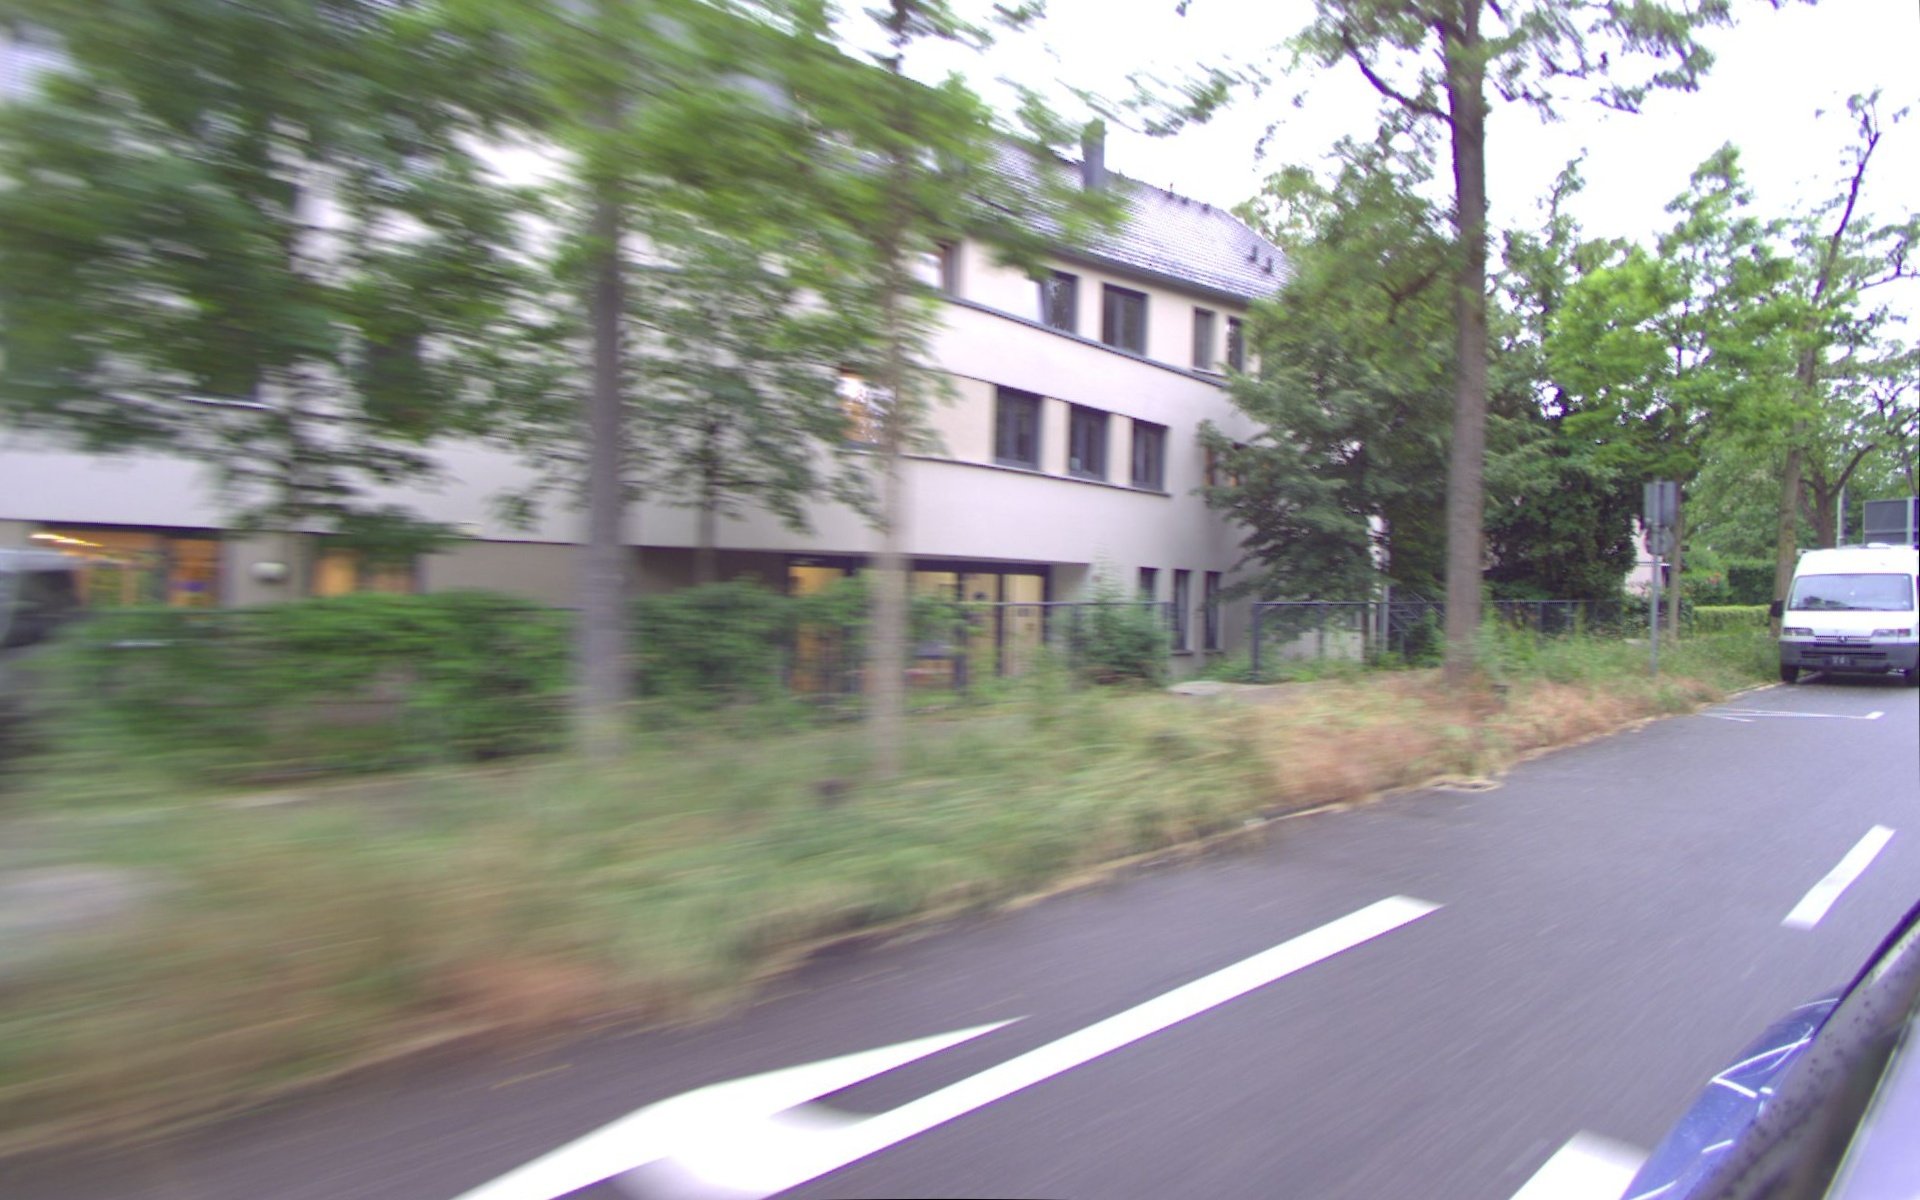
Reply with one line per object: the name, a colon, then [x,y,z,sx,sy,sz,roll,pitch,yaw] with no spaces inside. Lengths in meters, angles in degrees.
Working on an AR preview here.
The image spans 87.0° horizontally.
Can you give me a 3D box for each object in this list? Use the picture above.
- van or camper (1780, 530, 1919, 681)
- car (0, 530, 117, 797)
van or camper: [17.604,0.084,19.359,5.541,2.511,2.039,-1,-1,-42]
car: [-8.104,0.446,7.726,1.837,1.841,4.322,0,0,-30]
